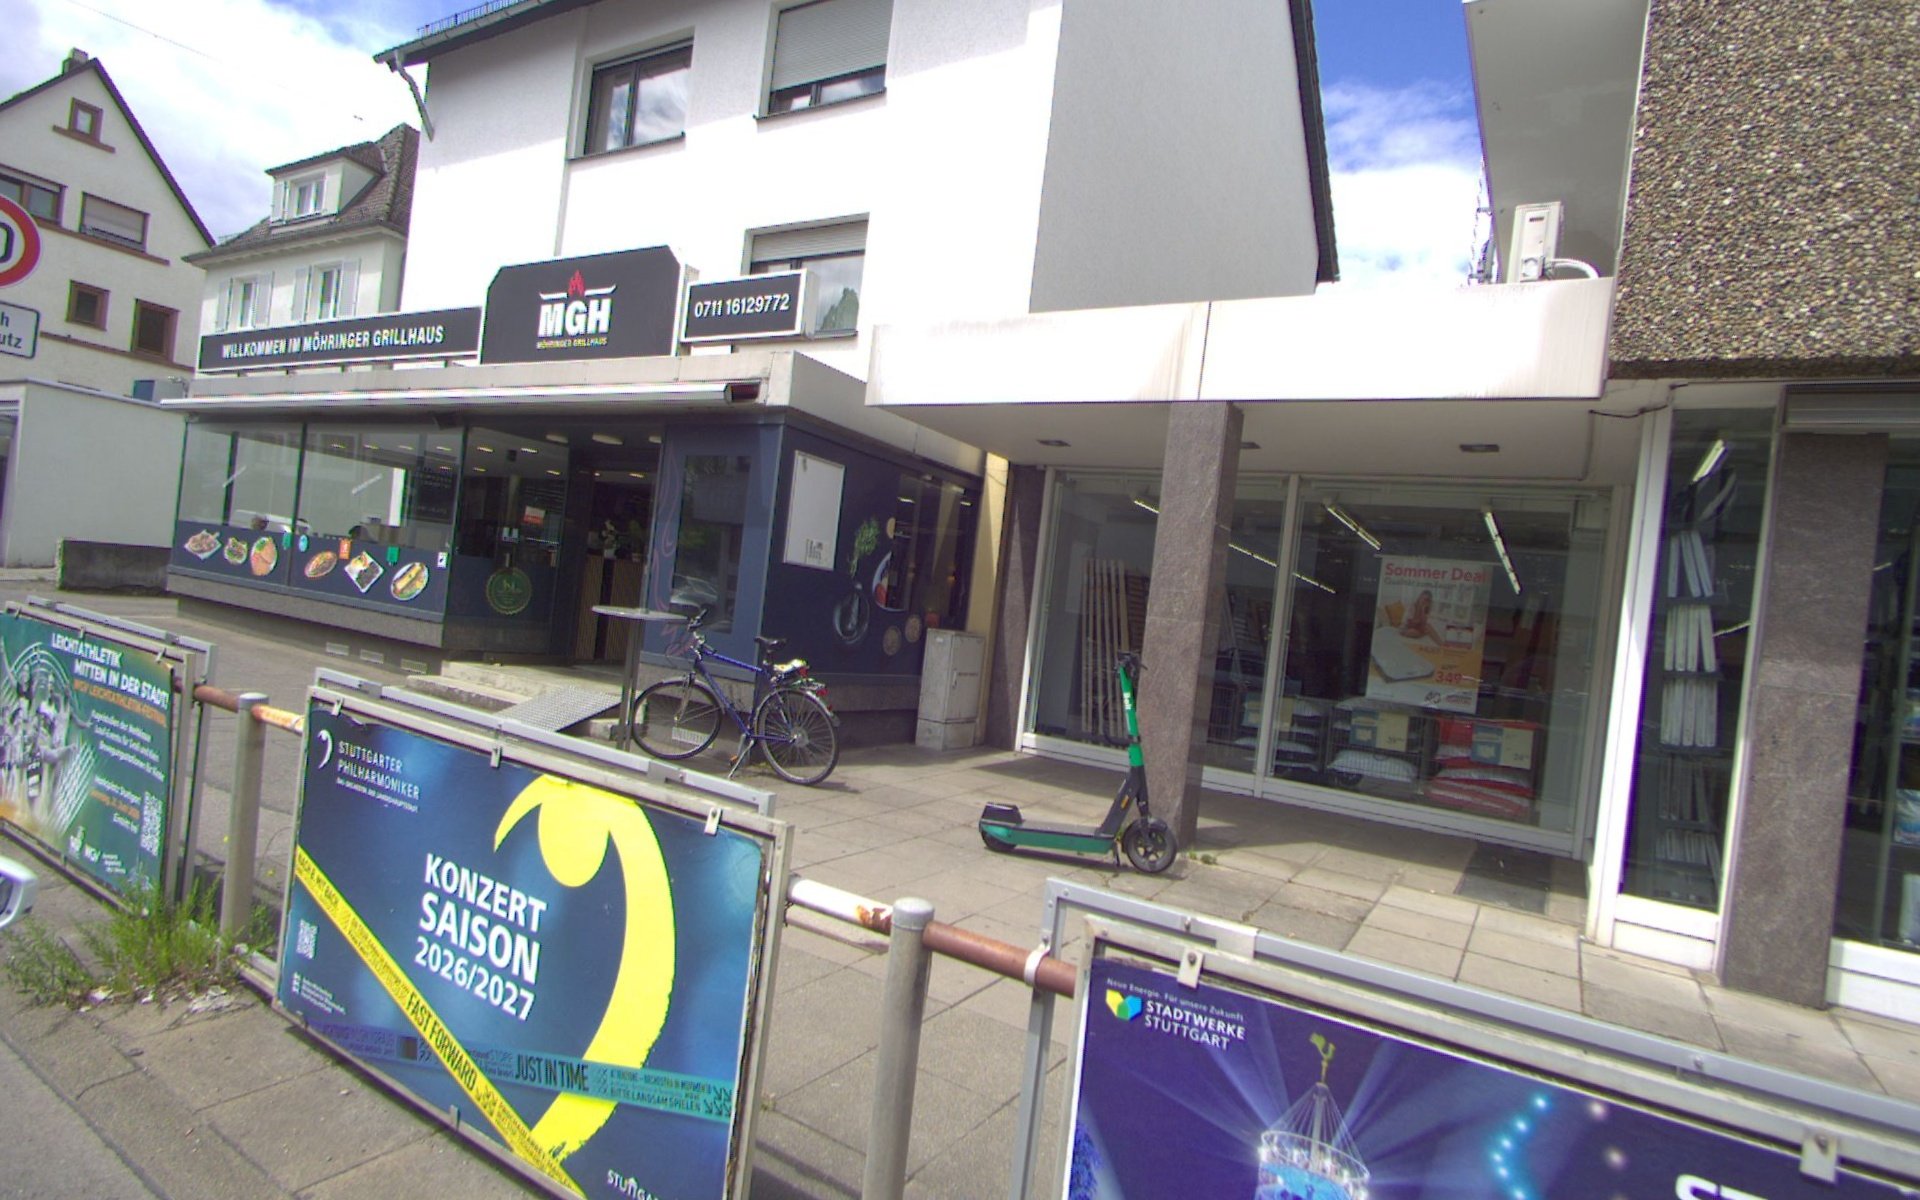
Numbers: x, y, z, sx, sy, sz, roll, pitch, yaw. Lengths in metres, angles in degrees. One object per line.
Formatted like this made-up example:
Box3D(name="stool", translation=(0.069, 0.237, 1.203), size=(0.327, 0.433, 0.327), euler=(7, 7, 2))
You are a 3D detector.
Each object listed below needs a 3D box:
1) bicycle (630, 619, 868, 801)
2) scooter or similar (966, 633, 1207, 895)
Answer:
Box3D(name="bicycle", translation=(-1.541, 0.757, 7.283), size=(1.606, 1.041, 0.476), euler=(7, 1, 23))
Box3D(name="scooter or similar", translation=(0.759, 0.904, 5.924), size=(1.163, 1.283, 0.689), euler=(6, 1, 20))
